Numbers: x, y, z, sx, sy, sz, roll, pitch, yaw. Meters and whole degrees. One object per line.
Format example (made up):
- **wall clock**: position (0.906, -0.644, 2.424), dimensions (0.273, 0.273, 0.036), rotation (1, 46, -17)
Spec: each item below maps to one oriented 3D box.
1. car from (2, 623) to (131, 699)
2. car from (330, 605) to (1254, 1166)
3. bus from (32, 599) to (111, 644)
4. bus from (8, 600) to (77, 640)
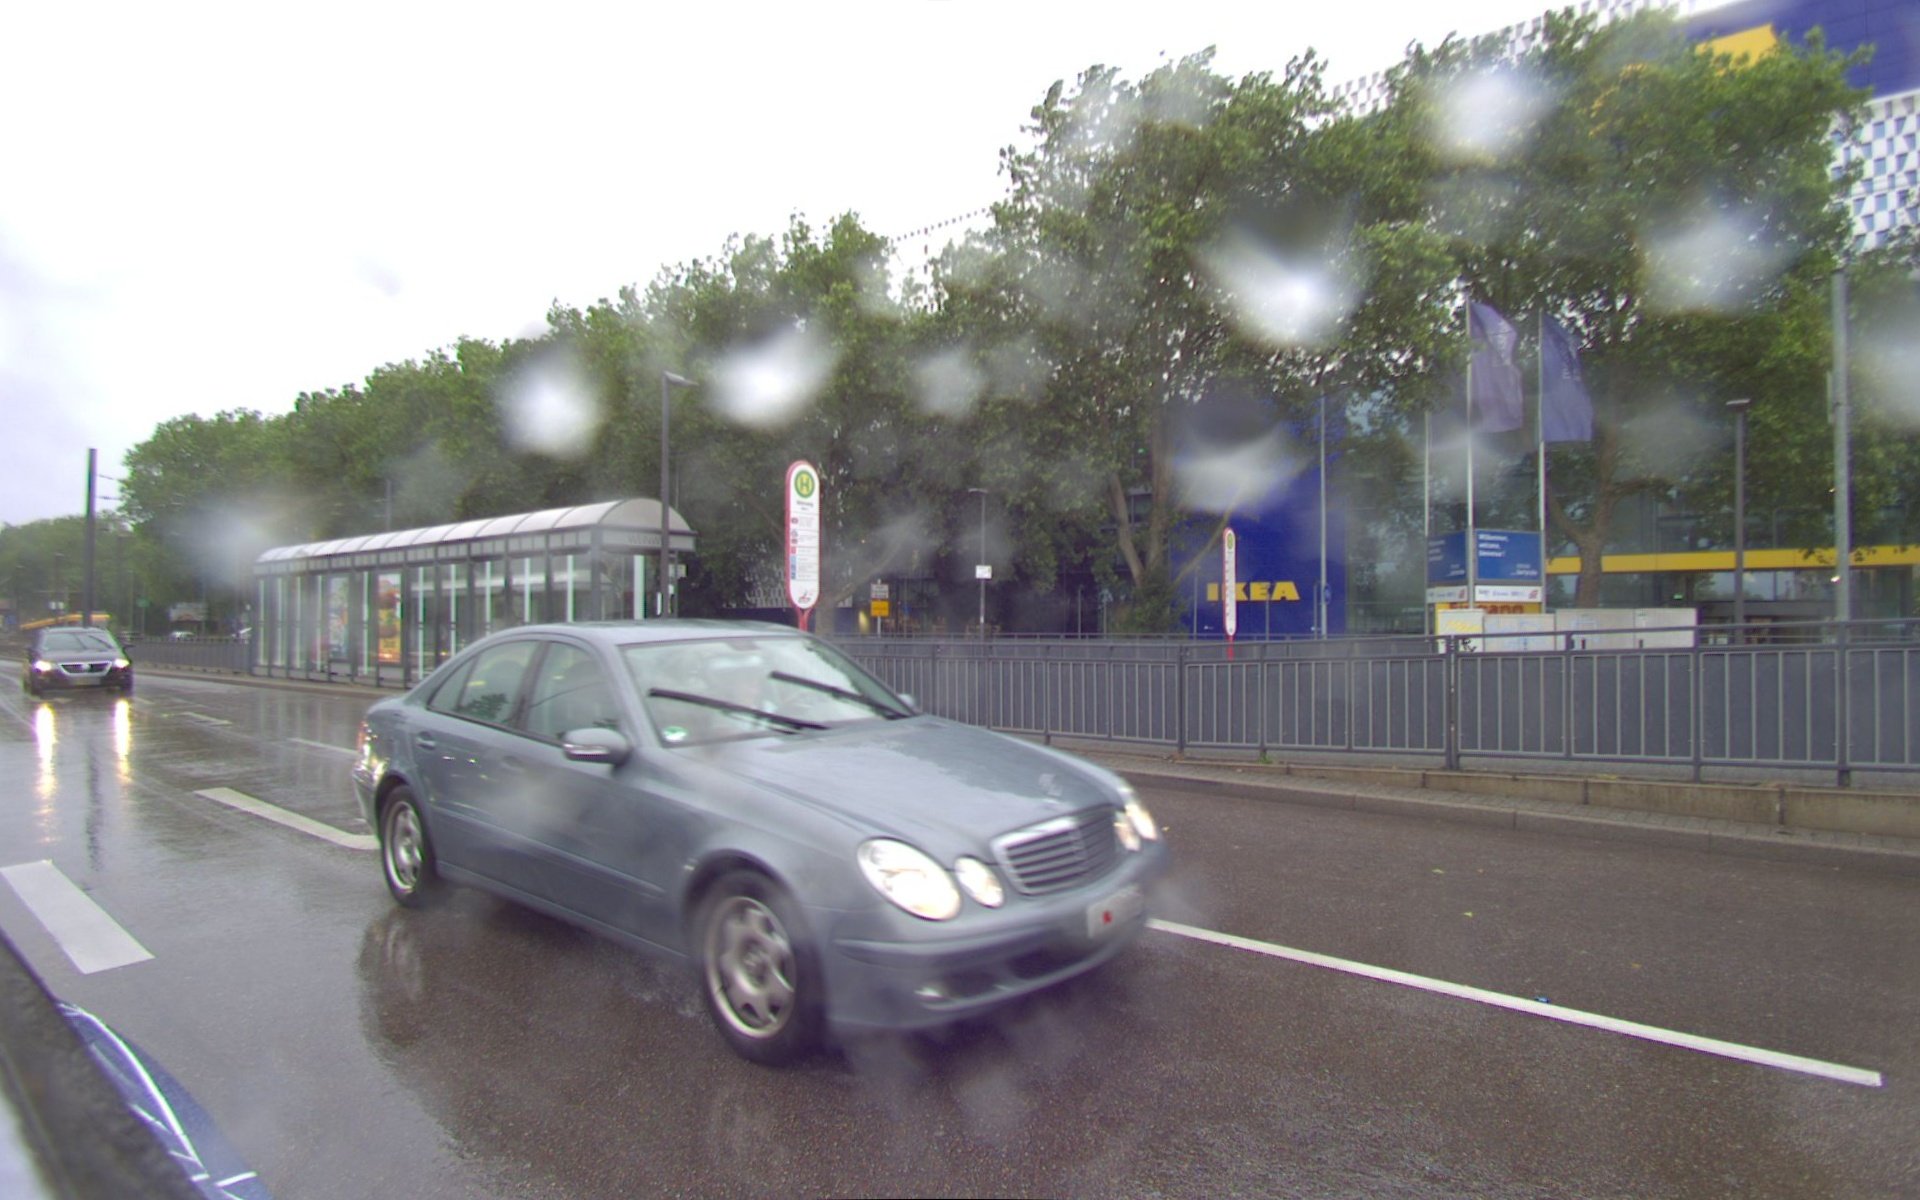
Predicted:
- **car**: position (-20.619, 1.328, 23.288), dimensions (4.596, 1.512, 1.752), rotation (-1, 0, 43)
- **car**: position (-1.186, 0.766, 4.777), dimensions (4.642, 1.409, 1.744), rotation (-1, 0, 41)
- **bus**: position (-72.205, 1.682, 82.057), dimensions (15.056, 3.354, 2.900), rotation (-1, 0, 41)
- **bus**: position (-83.632, 1.804, 92.071), dimensions (15.055, 3.354, 2.901), rotation (-1, 0, 41)
